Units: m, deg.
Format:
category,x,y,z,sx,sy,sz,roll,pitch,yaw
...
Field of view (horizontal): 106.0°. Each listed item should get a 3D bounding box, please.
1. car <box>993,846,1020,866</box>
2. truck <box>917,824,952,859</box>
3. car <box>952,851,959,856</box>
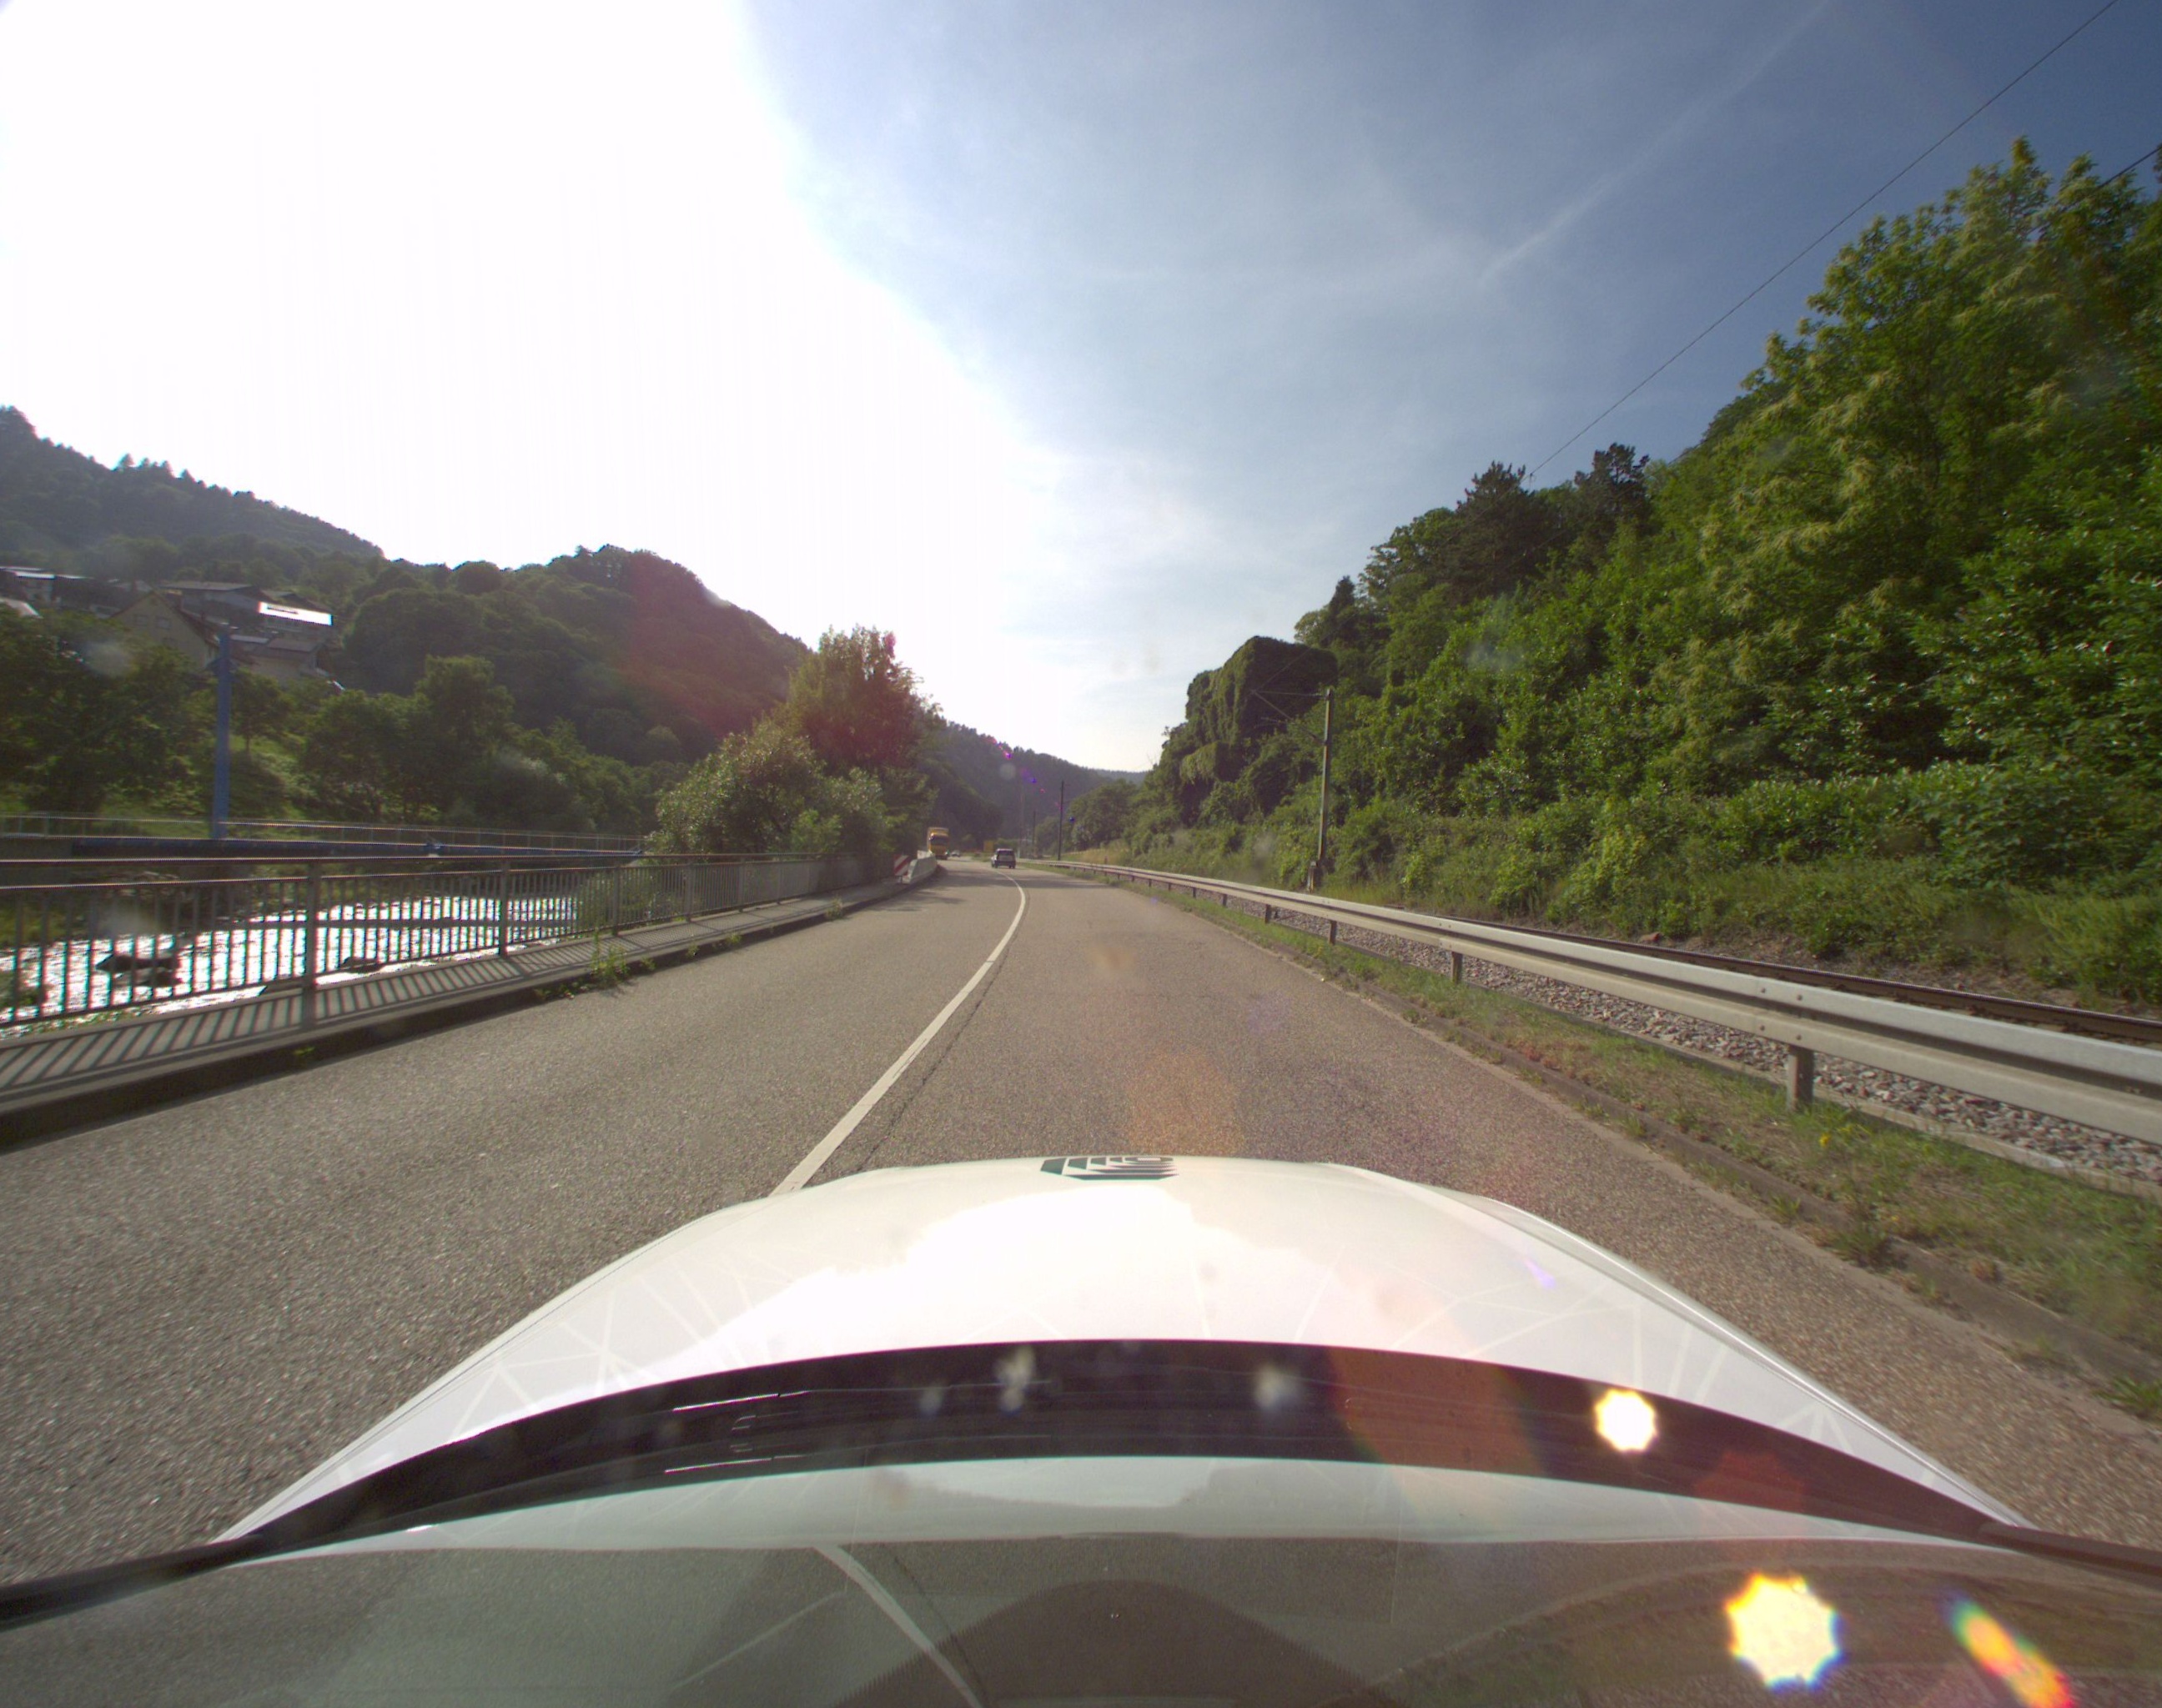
category,x,y,z,sx,sy,sz,roll,pitch,yaw
car,-6.452,0.175,70.137,1.873,1.656,3.985,0,0,-11
truck,-19.818,-1.578,109.404,3.376,4.383,12.640,-1,0,-16
car,-31.957,-0.189,207.226,1.469,1.084,3.269,4,0,-4
